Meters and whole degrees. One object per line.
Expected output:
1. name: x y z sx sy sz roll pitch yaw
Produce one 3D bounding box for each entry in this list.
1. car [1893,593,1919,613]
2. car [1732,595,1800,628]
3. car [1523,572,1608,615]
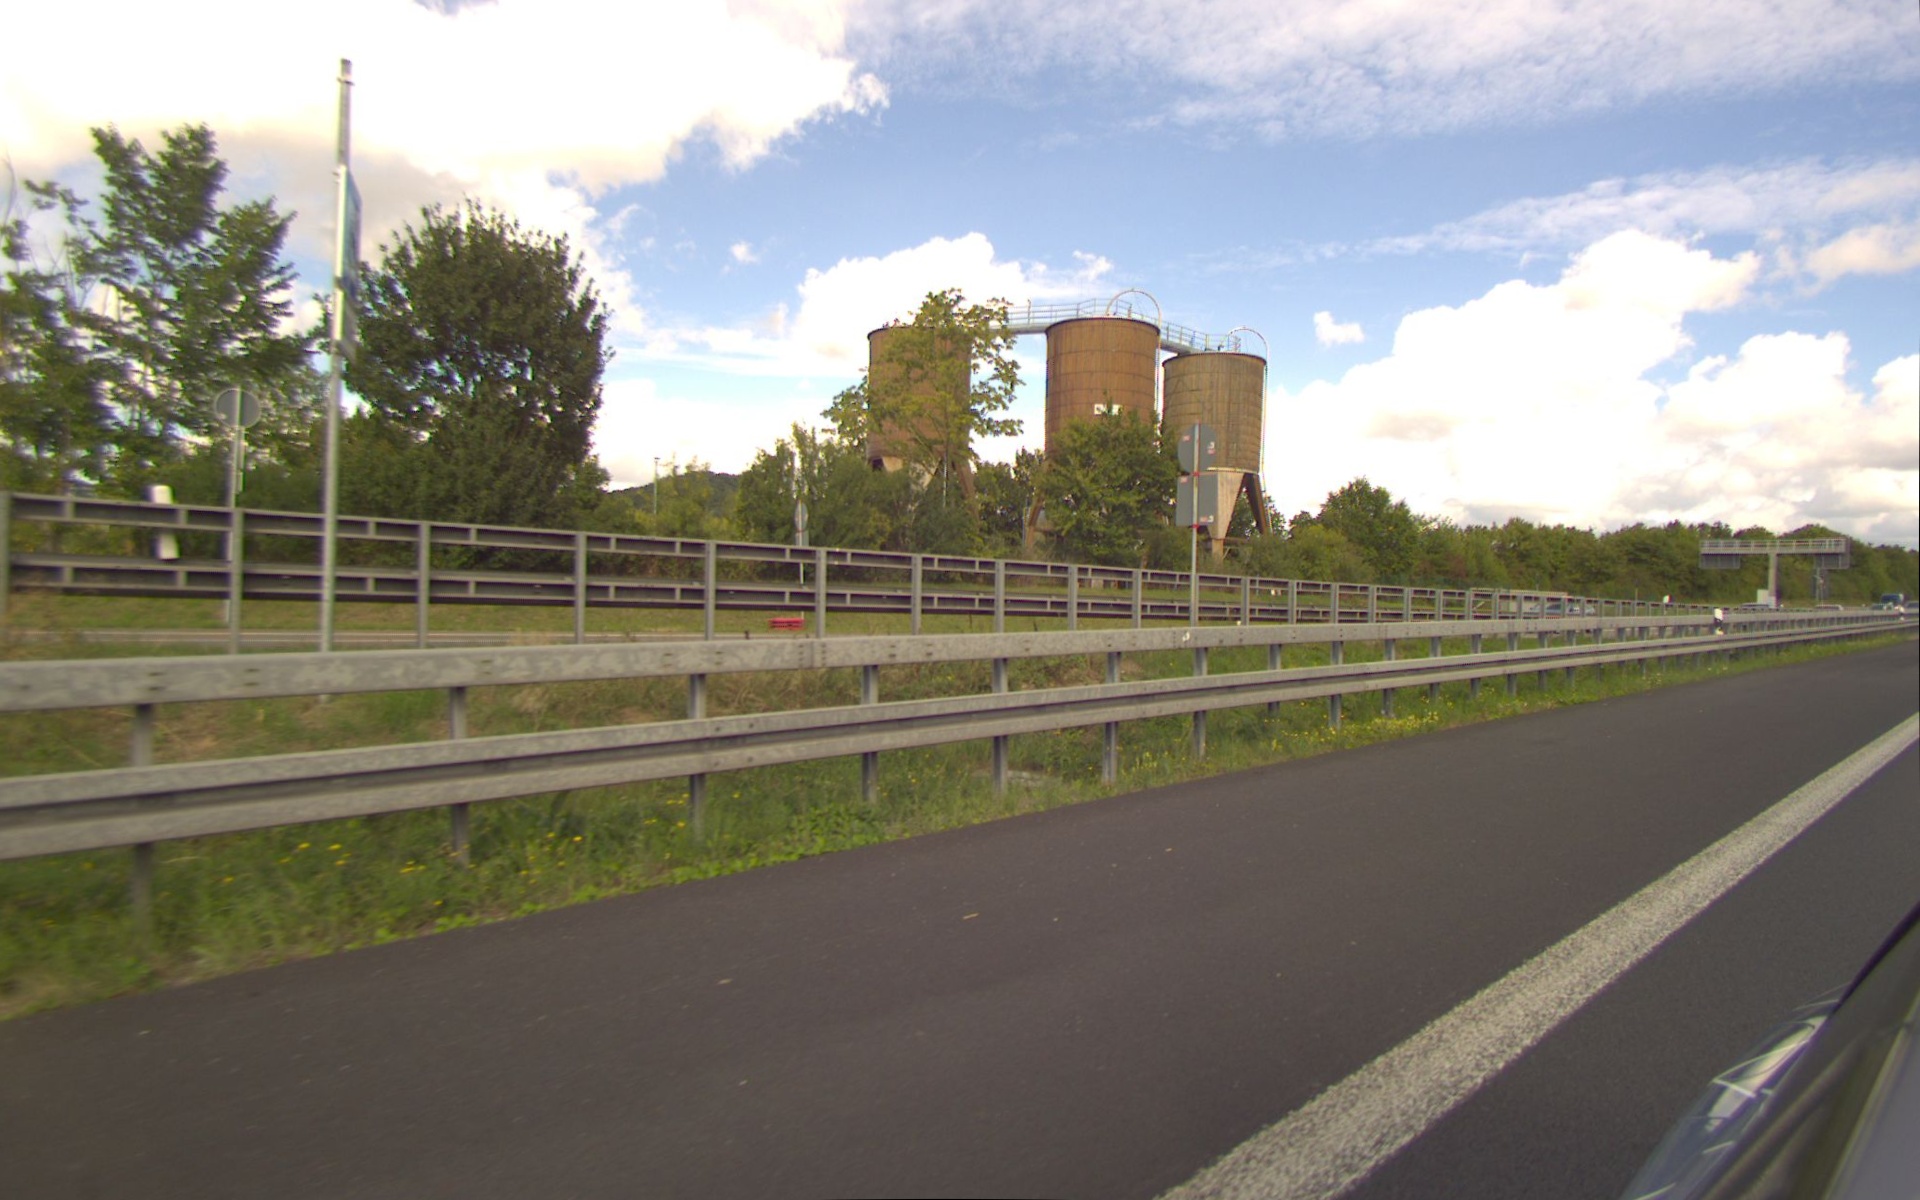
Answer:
1. car: 109.005 0.368 116.430 5.040 2.213 1.997 0 1 -42
2. car: 39.840 0.536 49.983 3.931 1.503 1.997 0 1 -42
3. car: 26.446 -0.297 44.173 3.930 1.729 1.998 0 3 -41
